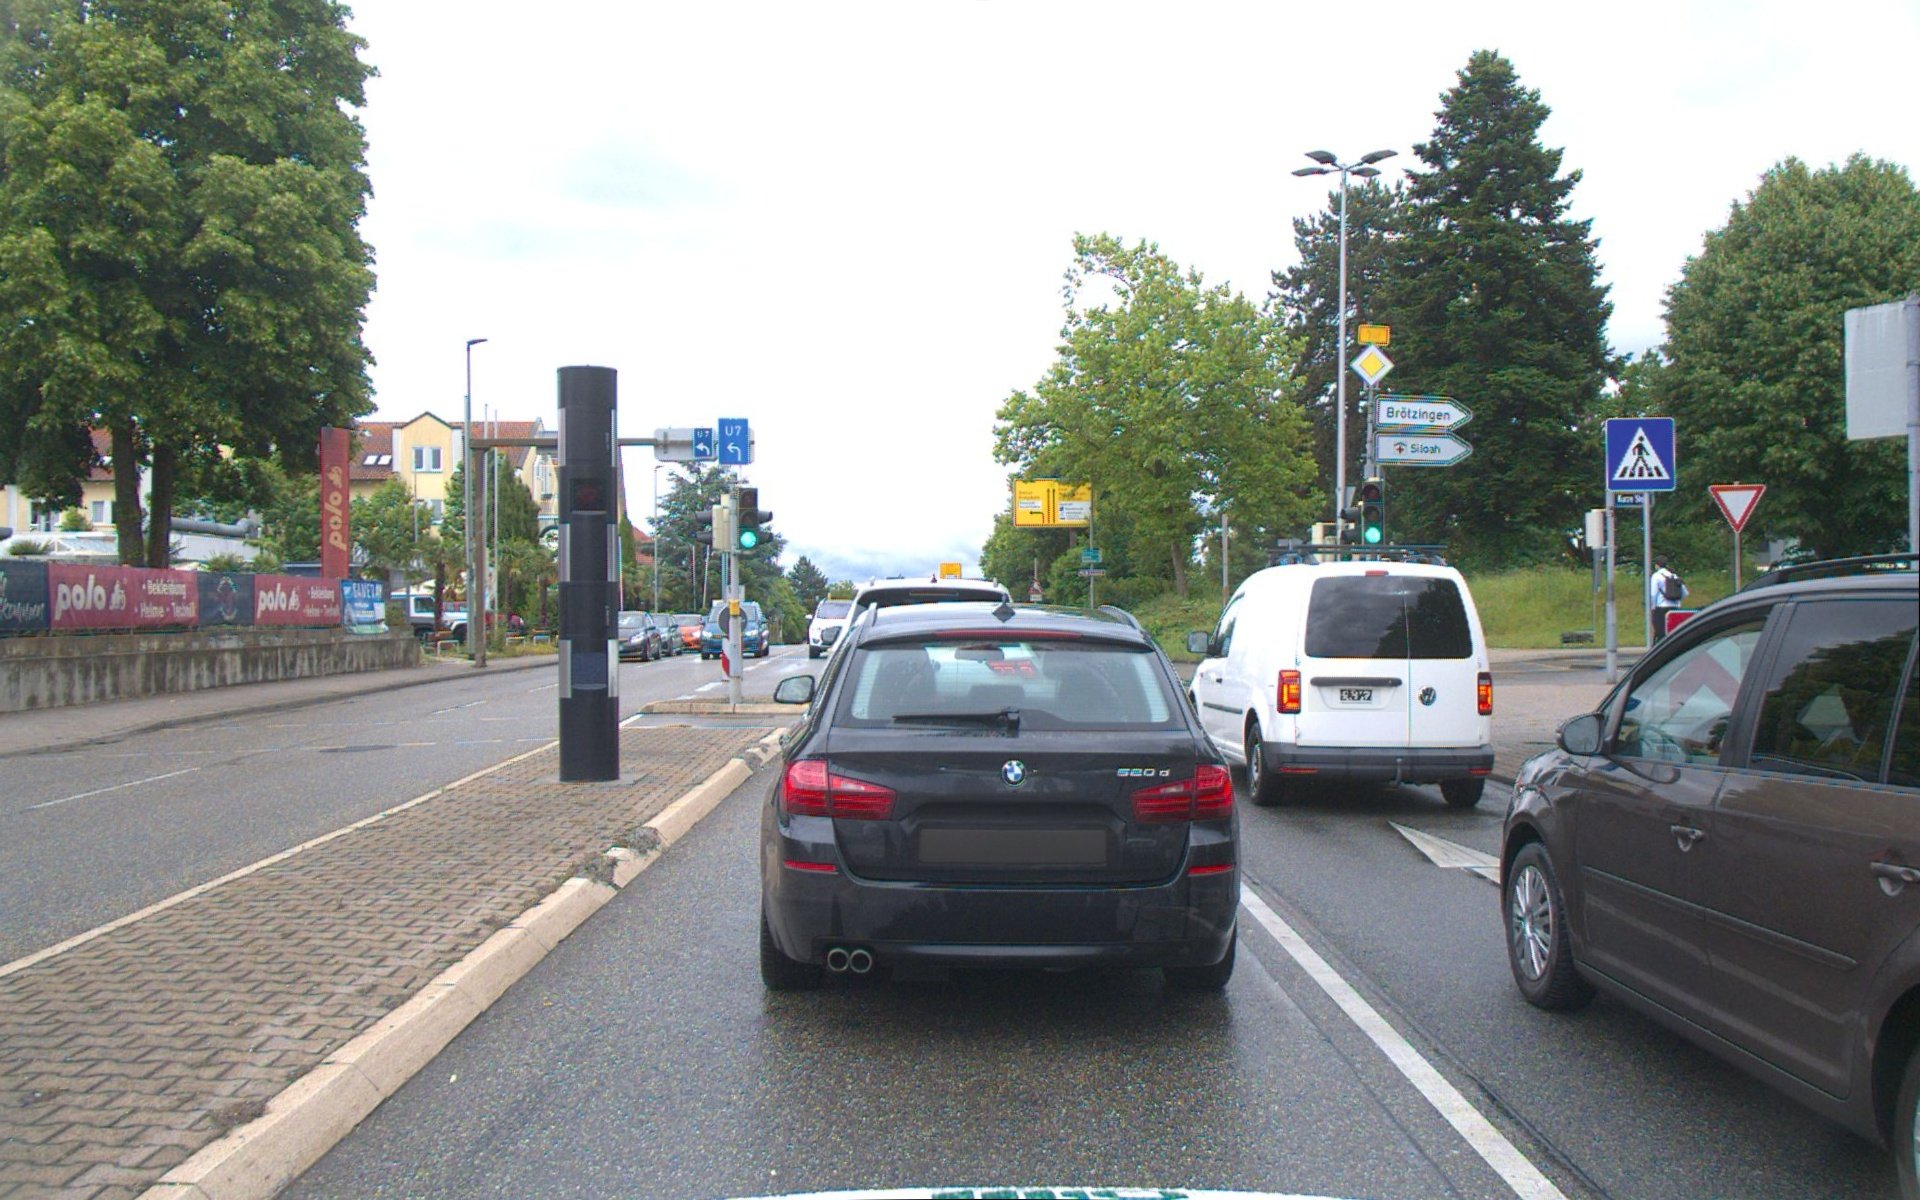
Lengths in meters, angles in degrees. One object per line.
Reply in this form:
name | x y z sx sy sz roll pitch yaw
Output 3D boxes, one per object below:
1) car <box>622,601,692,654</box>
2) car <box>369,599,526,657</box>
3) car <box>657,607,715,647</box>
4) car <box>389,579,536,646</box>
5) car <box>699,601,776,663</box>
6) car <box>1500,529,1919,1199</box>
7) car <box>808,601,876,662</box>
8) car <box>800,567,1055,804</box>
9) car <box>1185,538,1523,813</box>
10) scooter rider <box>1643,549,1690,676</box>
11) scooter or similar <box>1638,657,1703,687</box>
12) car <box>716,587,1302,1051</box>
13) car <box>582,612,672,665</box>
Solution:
car | -10.119 0.898 55.496 1.642 1.646 3.999 -1 0 -1
car | -17.997 0.985 58.079 4.943 1.732 1.980 -2 -3 -29
car | -10.137 0.975 61.452 1.590 1.355 3.945 -2 0 -2
car | -16.666 0.412 55.446 4.339 2.049 1.980 -2 0 -30
car | -6.578 0.913 49.325 1.802 1.678 4.295 -2 0 -2
car | 3.065 0.664 4.712 1.711 1.637 3.980 1 0 -1
car | -3.401 0.870 48.205 1.802 1.678 4.295 0 0 -2
car | -0.255 0.603 13.957 1.830 1.703 4.000 1 0 -1
car | 3.013 0.513 13.441 1.729 1.910 3.804 1 0 -2
scooter rider | 11.321 0.195 26.510 0.490 2.000 0.547 -1 0 -1
scooter or similar | 11.337 1.141 26.410 0.477 0.410 1.255 -1 1 -1
car | 0.138 0.706 7.282 1.860 1.467 3.999 1 0 -1
car | -9.761 1.107 48.752 1.878 1.403 4.124 -2 0 -2
